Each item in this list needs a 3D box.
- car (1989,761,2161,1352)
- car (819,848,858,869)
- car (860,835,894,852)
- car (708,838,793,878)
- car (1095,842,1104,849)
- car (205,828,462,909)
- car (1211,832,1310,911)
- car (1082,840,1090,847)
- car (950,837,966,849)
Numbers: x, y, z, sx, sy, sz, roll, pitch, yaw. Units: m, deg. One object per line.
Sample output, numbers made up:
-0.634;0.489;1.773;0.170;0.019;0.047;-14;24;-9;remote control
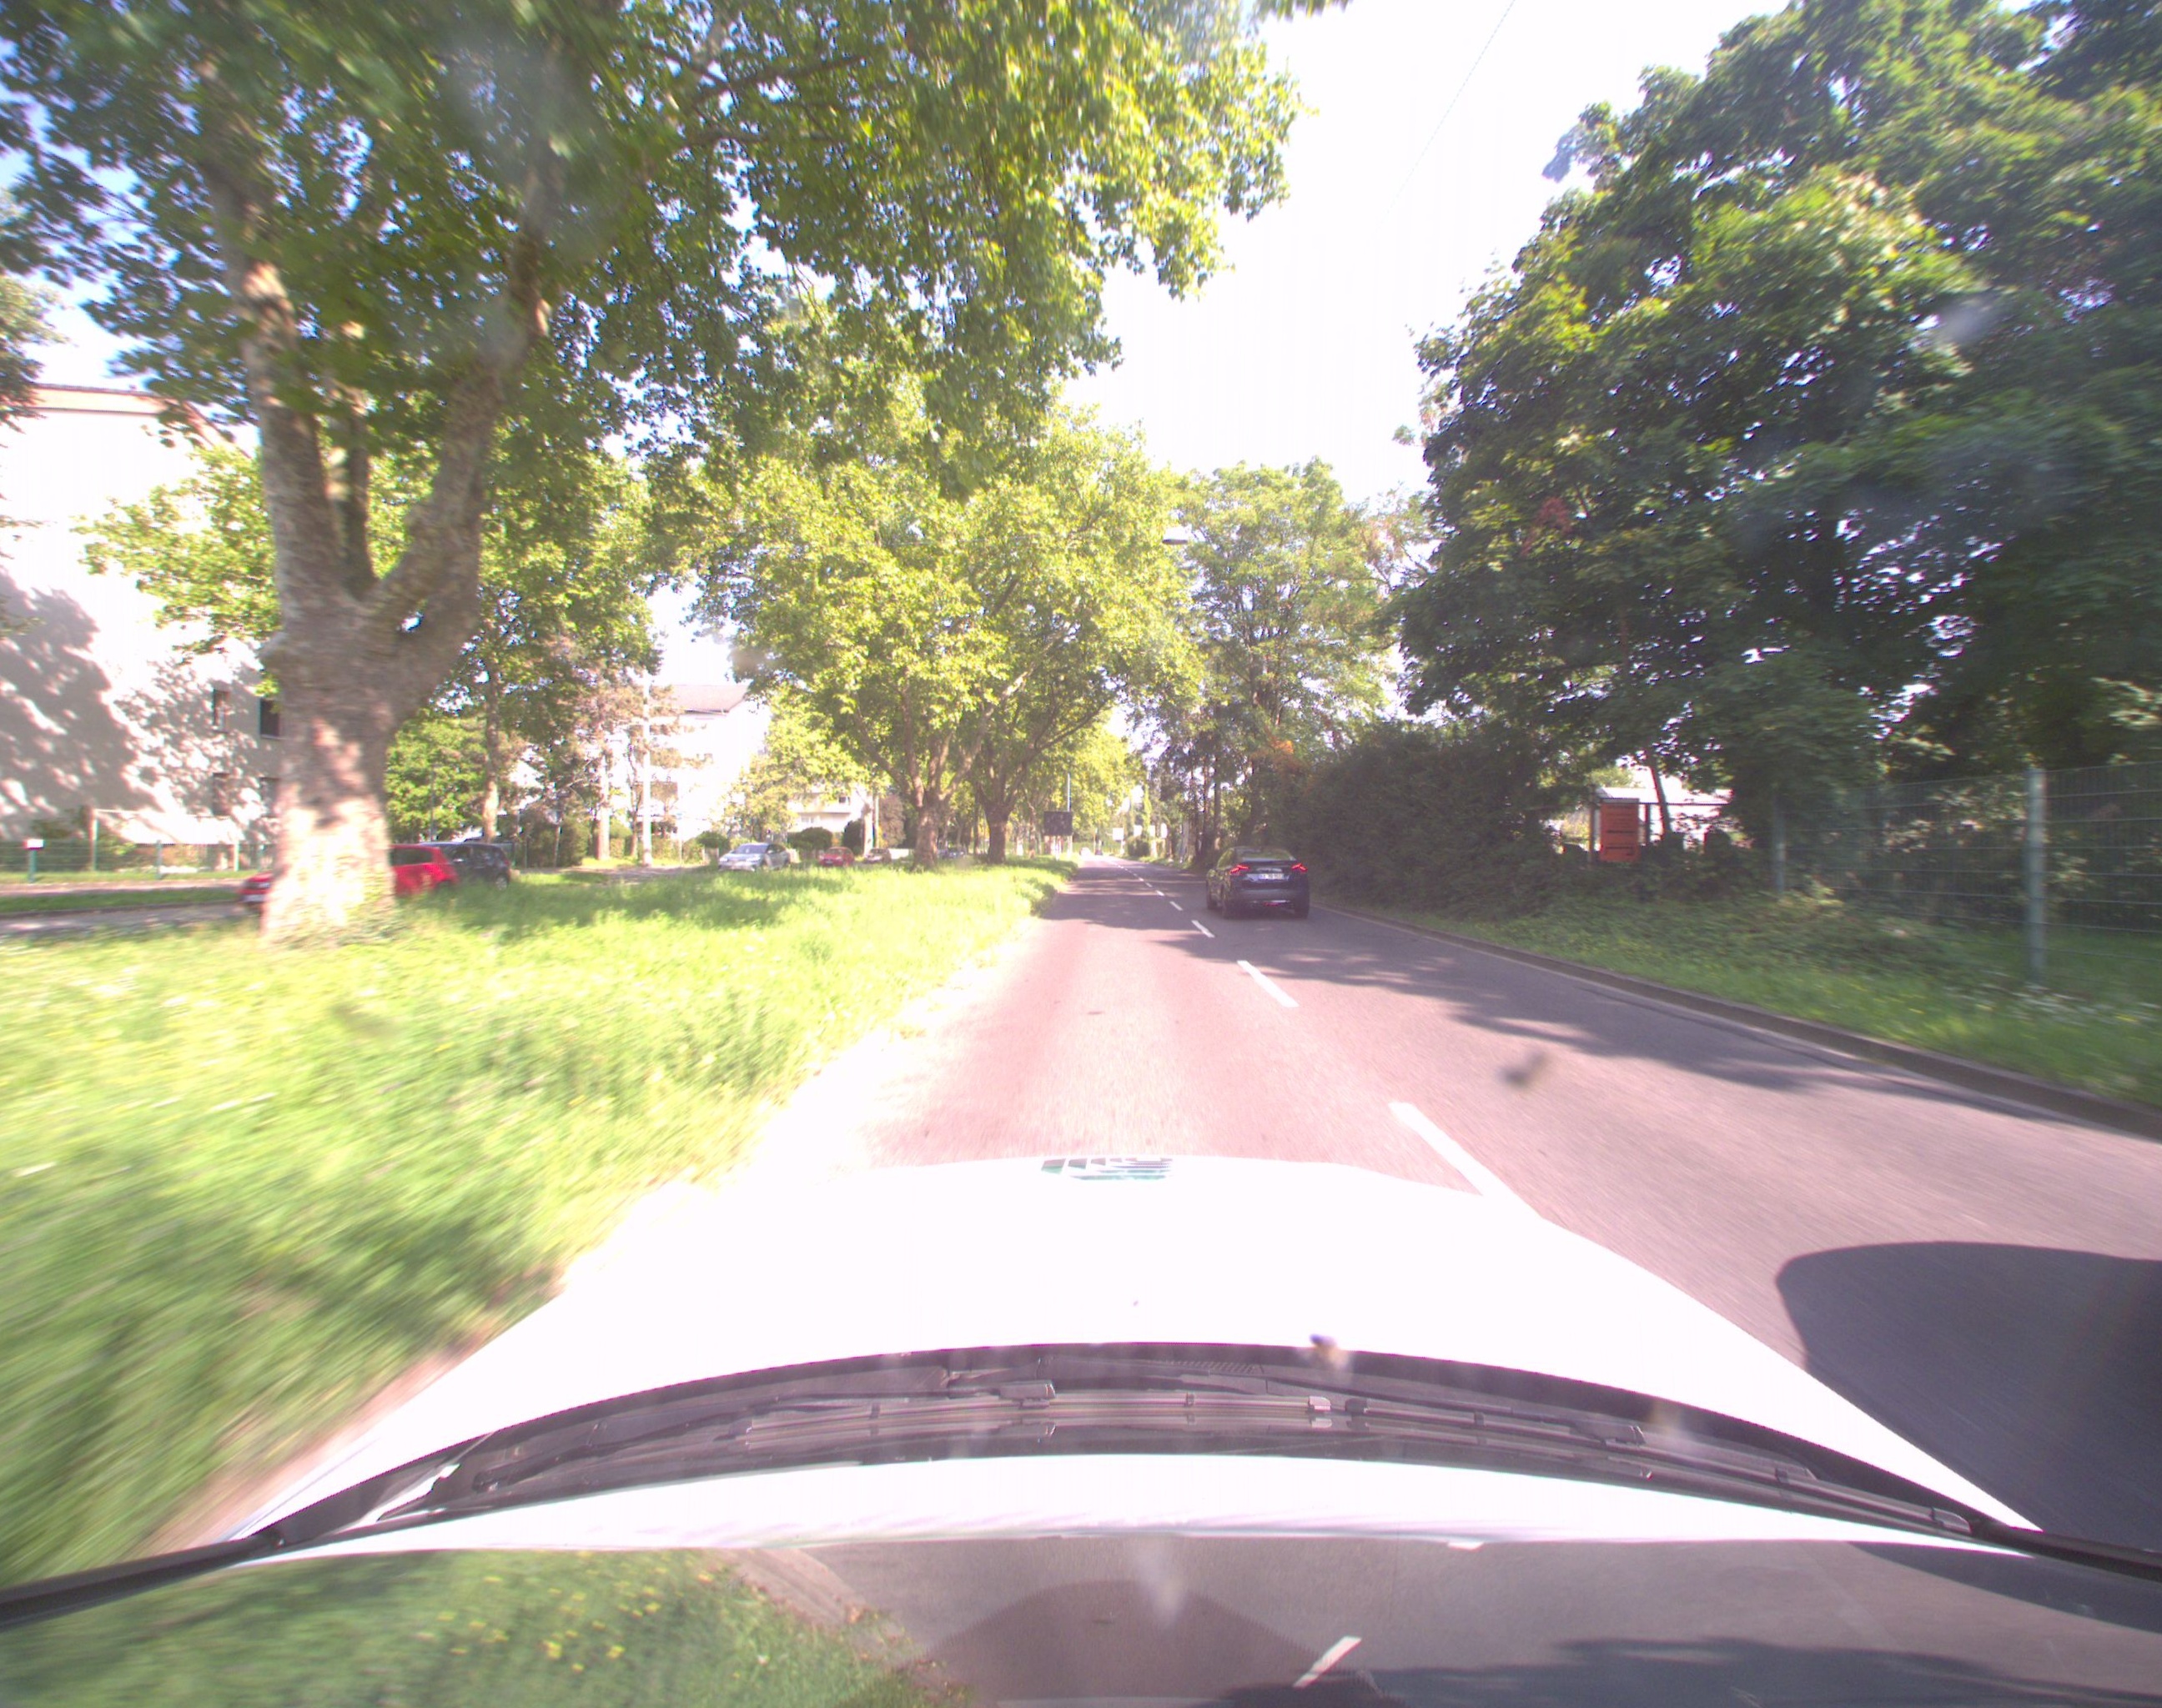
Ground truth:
3.604;0.561;0.591;1.638;1.556;3.901;1;1;2;car
-17.681;0.277;59.483;1.533;1.451;4.066;1;1;1;car
-17.685;-0.920;70.805;1.795;1.430;4.066;1;1;1;car
-14.911;0.118;37.054;1.795;1.719;4.722;0;1;1;car
3.874;-1.834;173.697;1.792;1.401;3.999;1;1;-1;car
-15.604;0.236;17.346;1.685;1.533;4.070;0;1;0;car
3.936;0.330;18.431;1.637;1.588;4.261;0;1;5;car
0.999;-2.122;163.872;1.682;1.462;4.000;1;1;1;car
-18.072;-1.619;119.718;1.694;1.732;4.659;1;1;0;car
